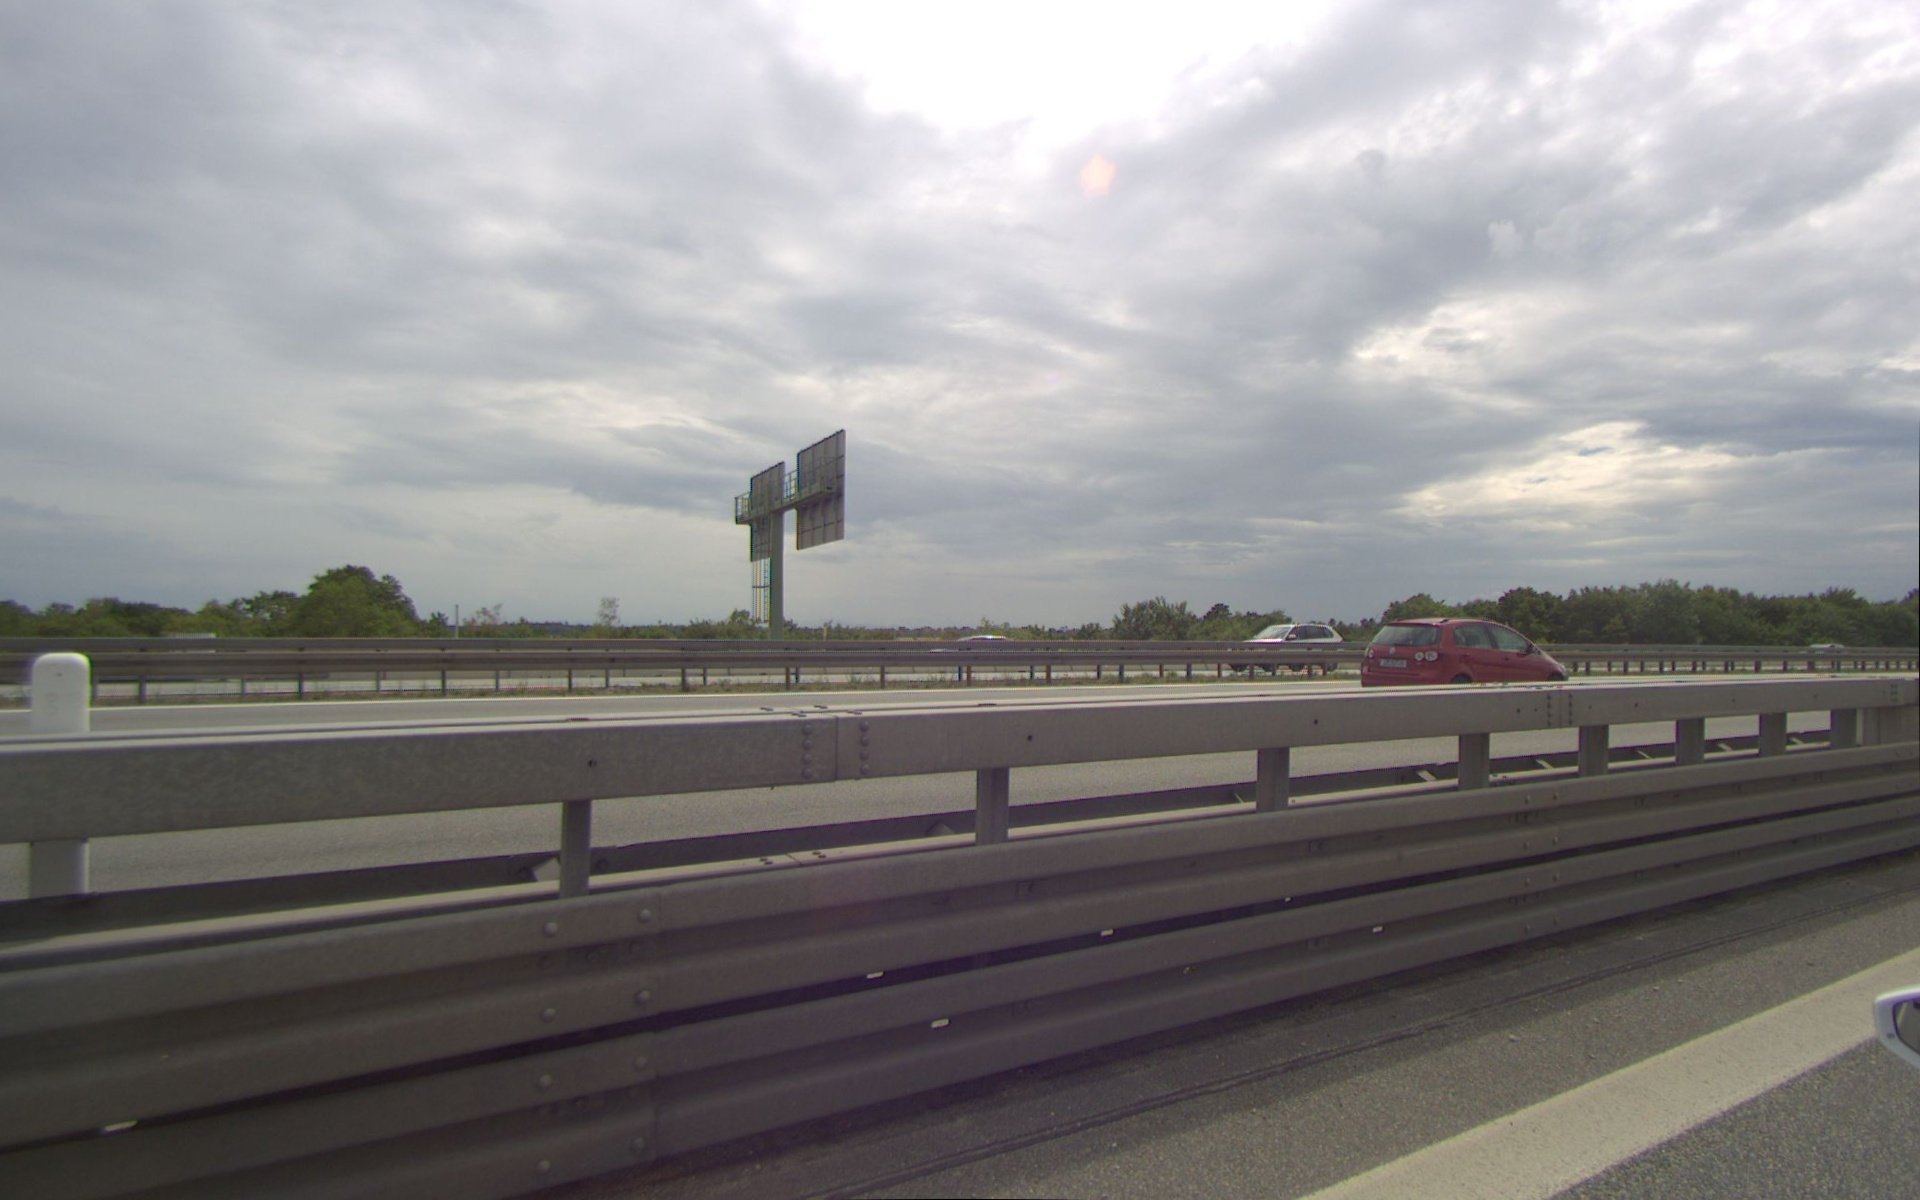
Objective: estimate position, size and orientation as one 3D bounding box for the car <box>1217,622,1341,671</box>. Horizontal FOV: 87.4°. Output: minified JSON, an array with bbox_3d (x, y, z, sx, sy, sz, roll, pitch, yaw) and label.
[{"bbox_3d":[11.790,1.682,37.091,4.459,1.644,1.737,0,0,-27],"label":"car"}]

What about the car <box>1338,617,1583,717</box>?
[{"bbox_3d":[9.017,1.112,18.035,4.300,1.566,1.812,0,0,-28],"label":"car"}]

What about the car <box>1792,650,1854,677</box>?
[{"bbox_3d":[59.143,4.345,68.827,3.947,1.728,1.824,1,0,-26],"label":"car"}]
